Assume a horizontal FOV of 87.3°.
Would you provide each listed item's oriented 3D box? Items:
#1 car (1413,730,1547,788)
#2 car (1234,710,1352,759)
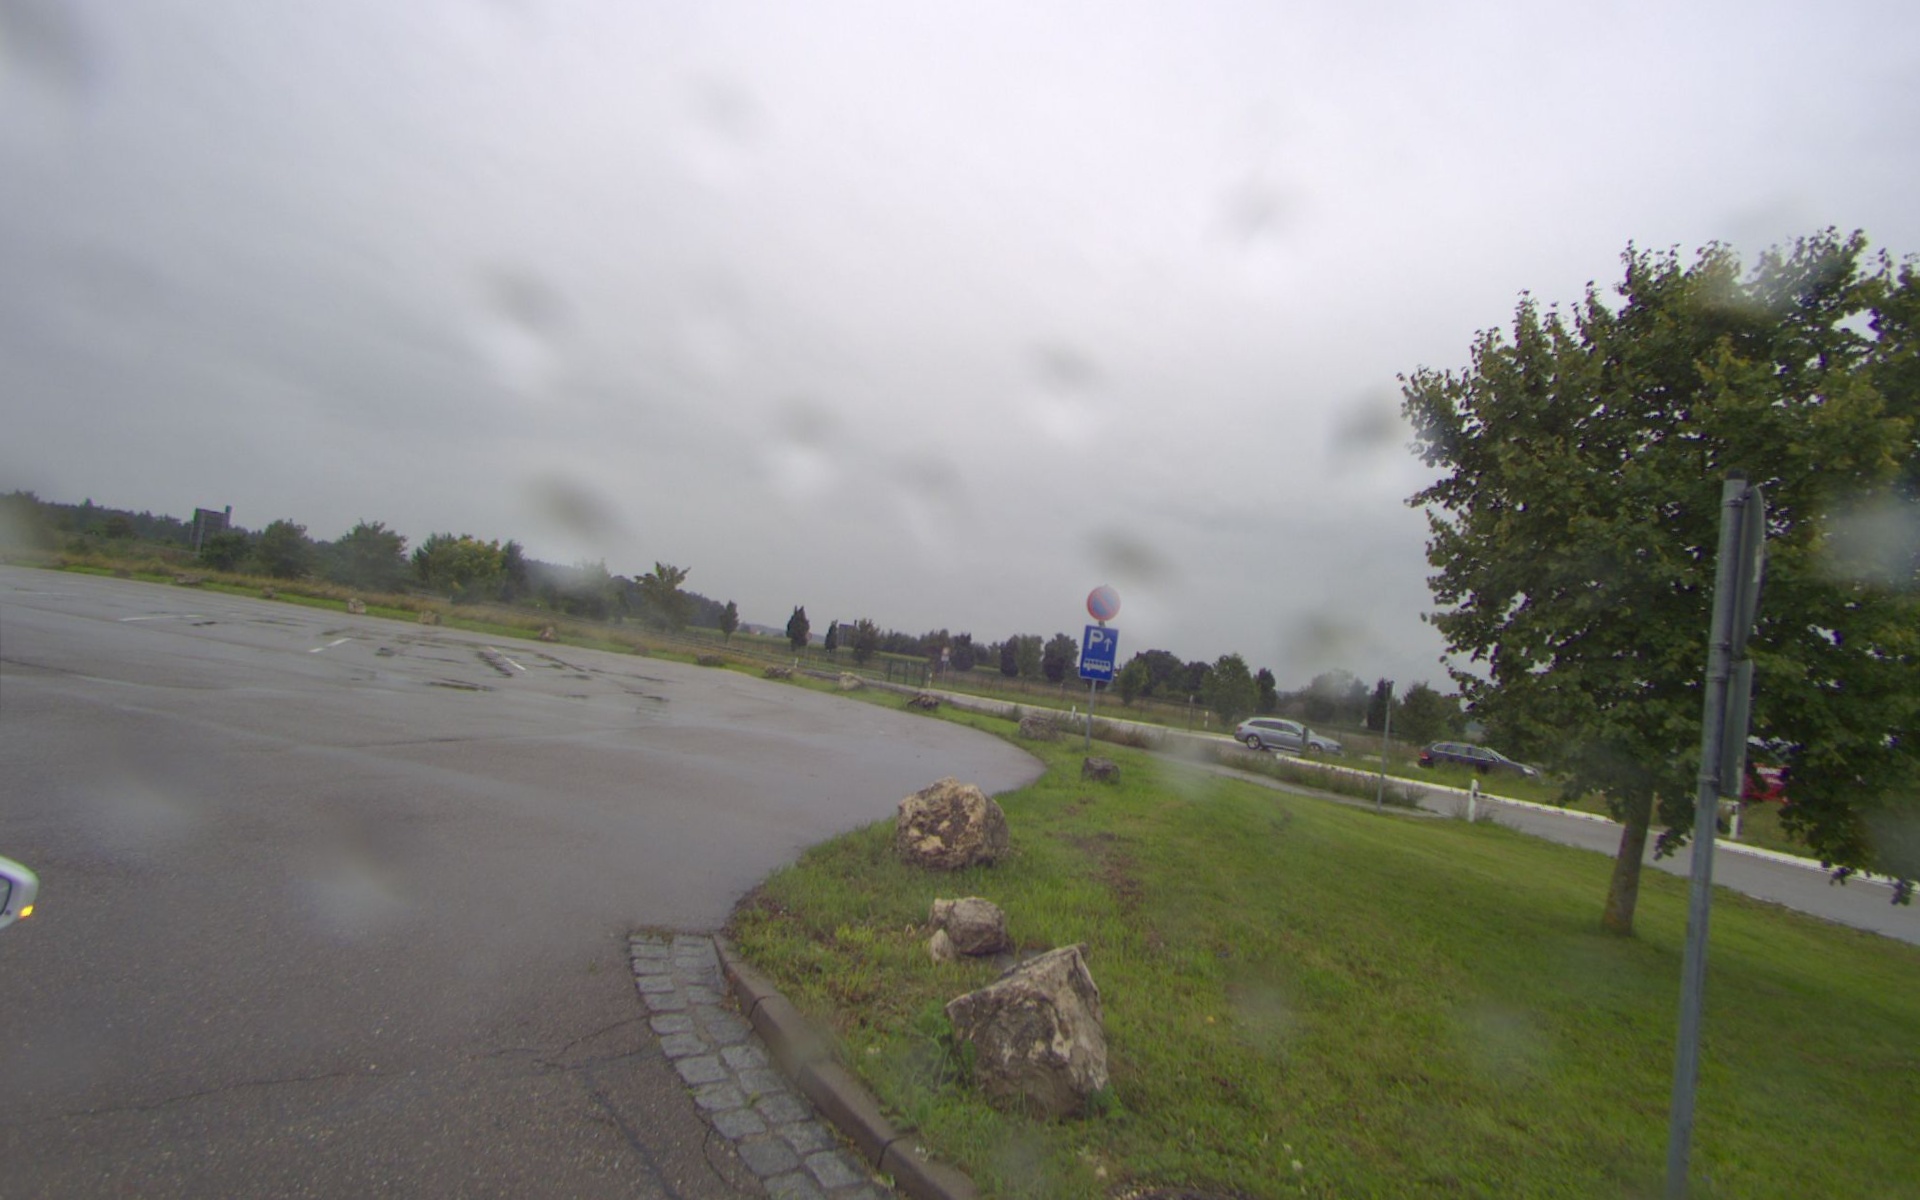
[{"bbox_3d":[21.115,6.449,40.933,4.459,1.619,1.995,5,-5,39],"label":"car"},{"bbox_3d":[15.079,6.076,45.694,4.593,1.499,1.994,5,-2,37],"label":"car"}]
